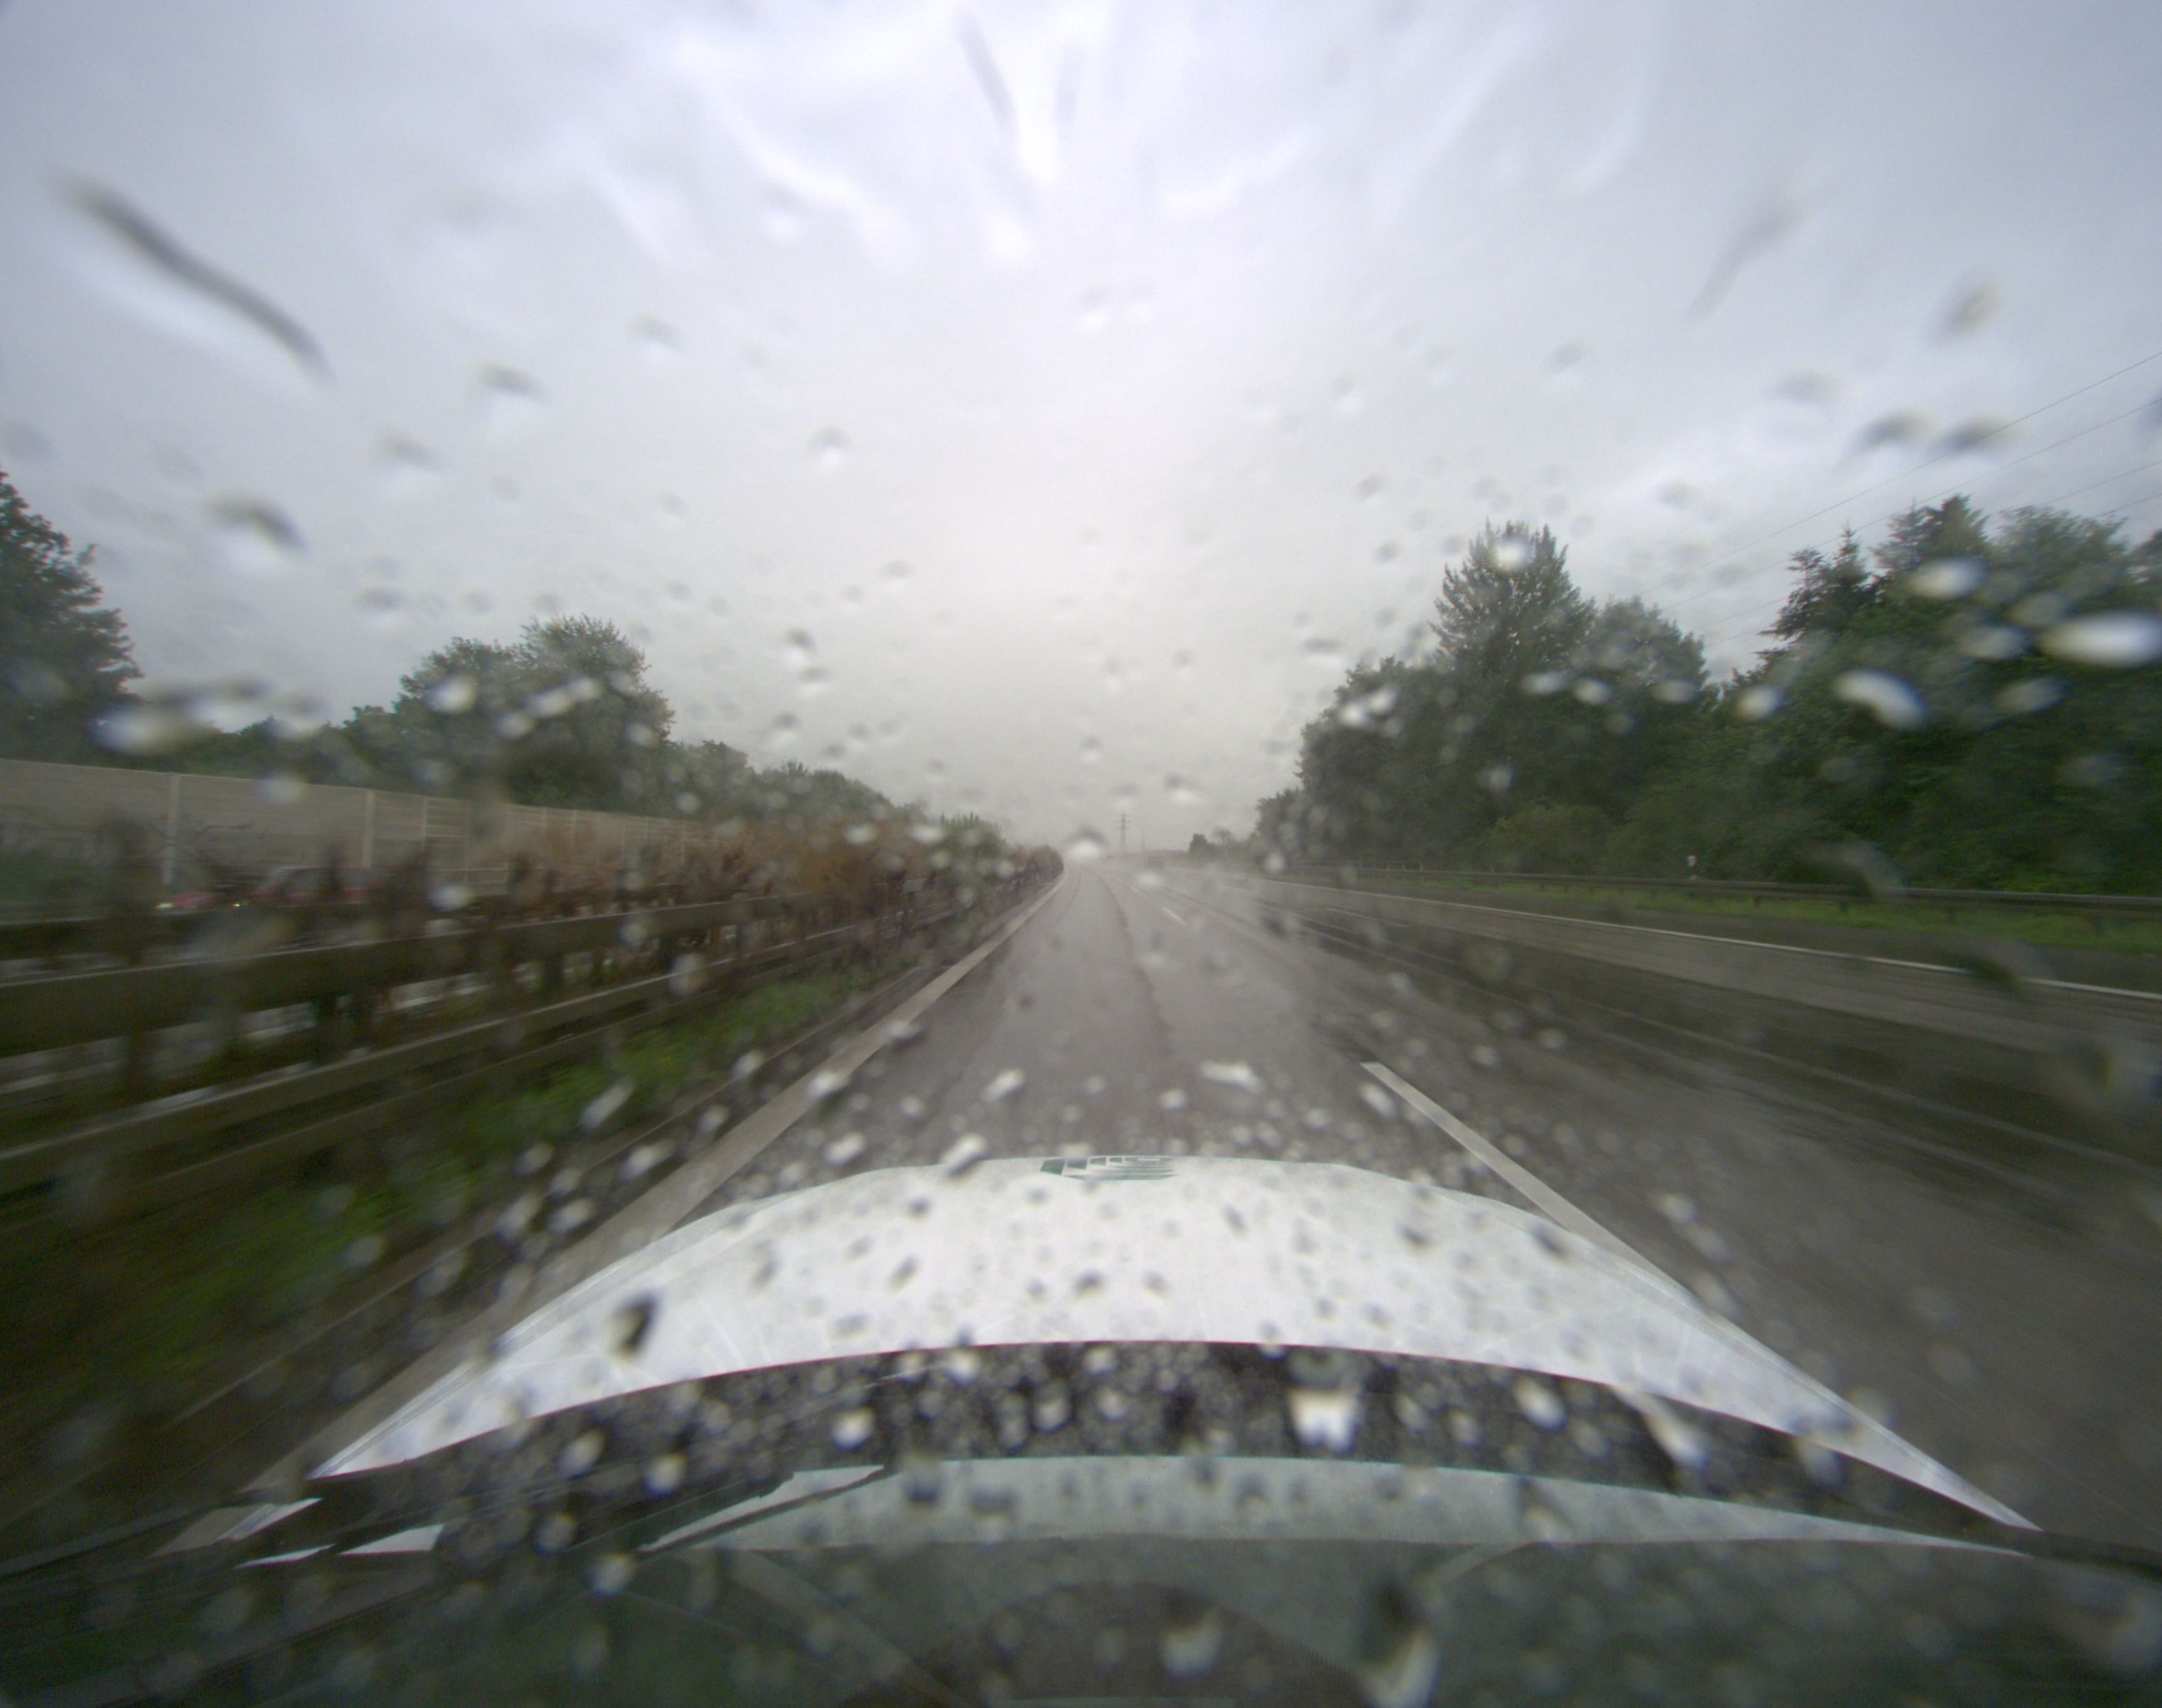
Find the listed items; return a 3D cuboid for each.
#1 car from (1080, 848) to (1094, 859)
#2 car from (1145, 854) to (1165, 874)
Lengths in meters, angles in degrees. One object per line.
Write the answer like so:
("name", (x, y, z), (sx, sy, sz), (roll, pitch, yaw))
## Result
("car", (1.767, -0.225, 234.260), (3.196, 3.193, 7.241), (0, 0, -6))
("car", (8.552, 1.137, 94.111), (1.803, 2.158, 3.996), (0, 0, -3))
